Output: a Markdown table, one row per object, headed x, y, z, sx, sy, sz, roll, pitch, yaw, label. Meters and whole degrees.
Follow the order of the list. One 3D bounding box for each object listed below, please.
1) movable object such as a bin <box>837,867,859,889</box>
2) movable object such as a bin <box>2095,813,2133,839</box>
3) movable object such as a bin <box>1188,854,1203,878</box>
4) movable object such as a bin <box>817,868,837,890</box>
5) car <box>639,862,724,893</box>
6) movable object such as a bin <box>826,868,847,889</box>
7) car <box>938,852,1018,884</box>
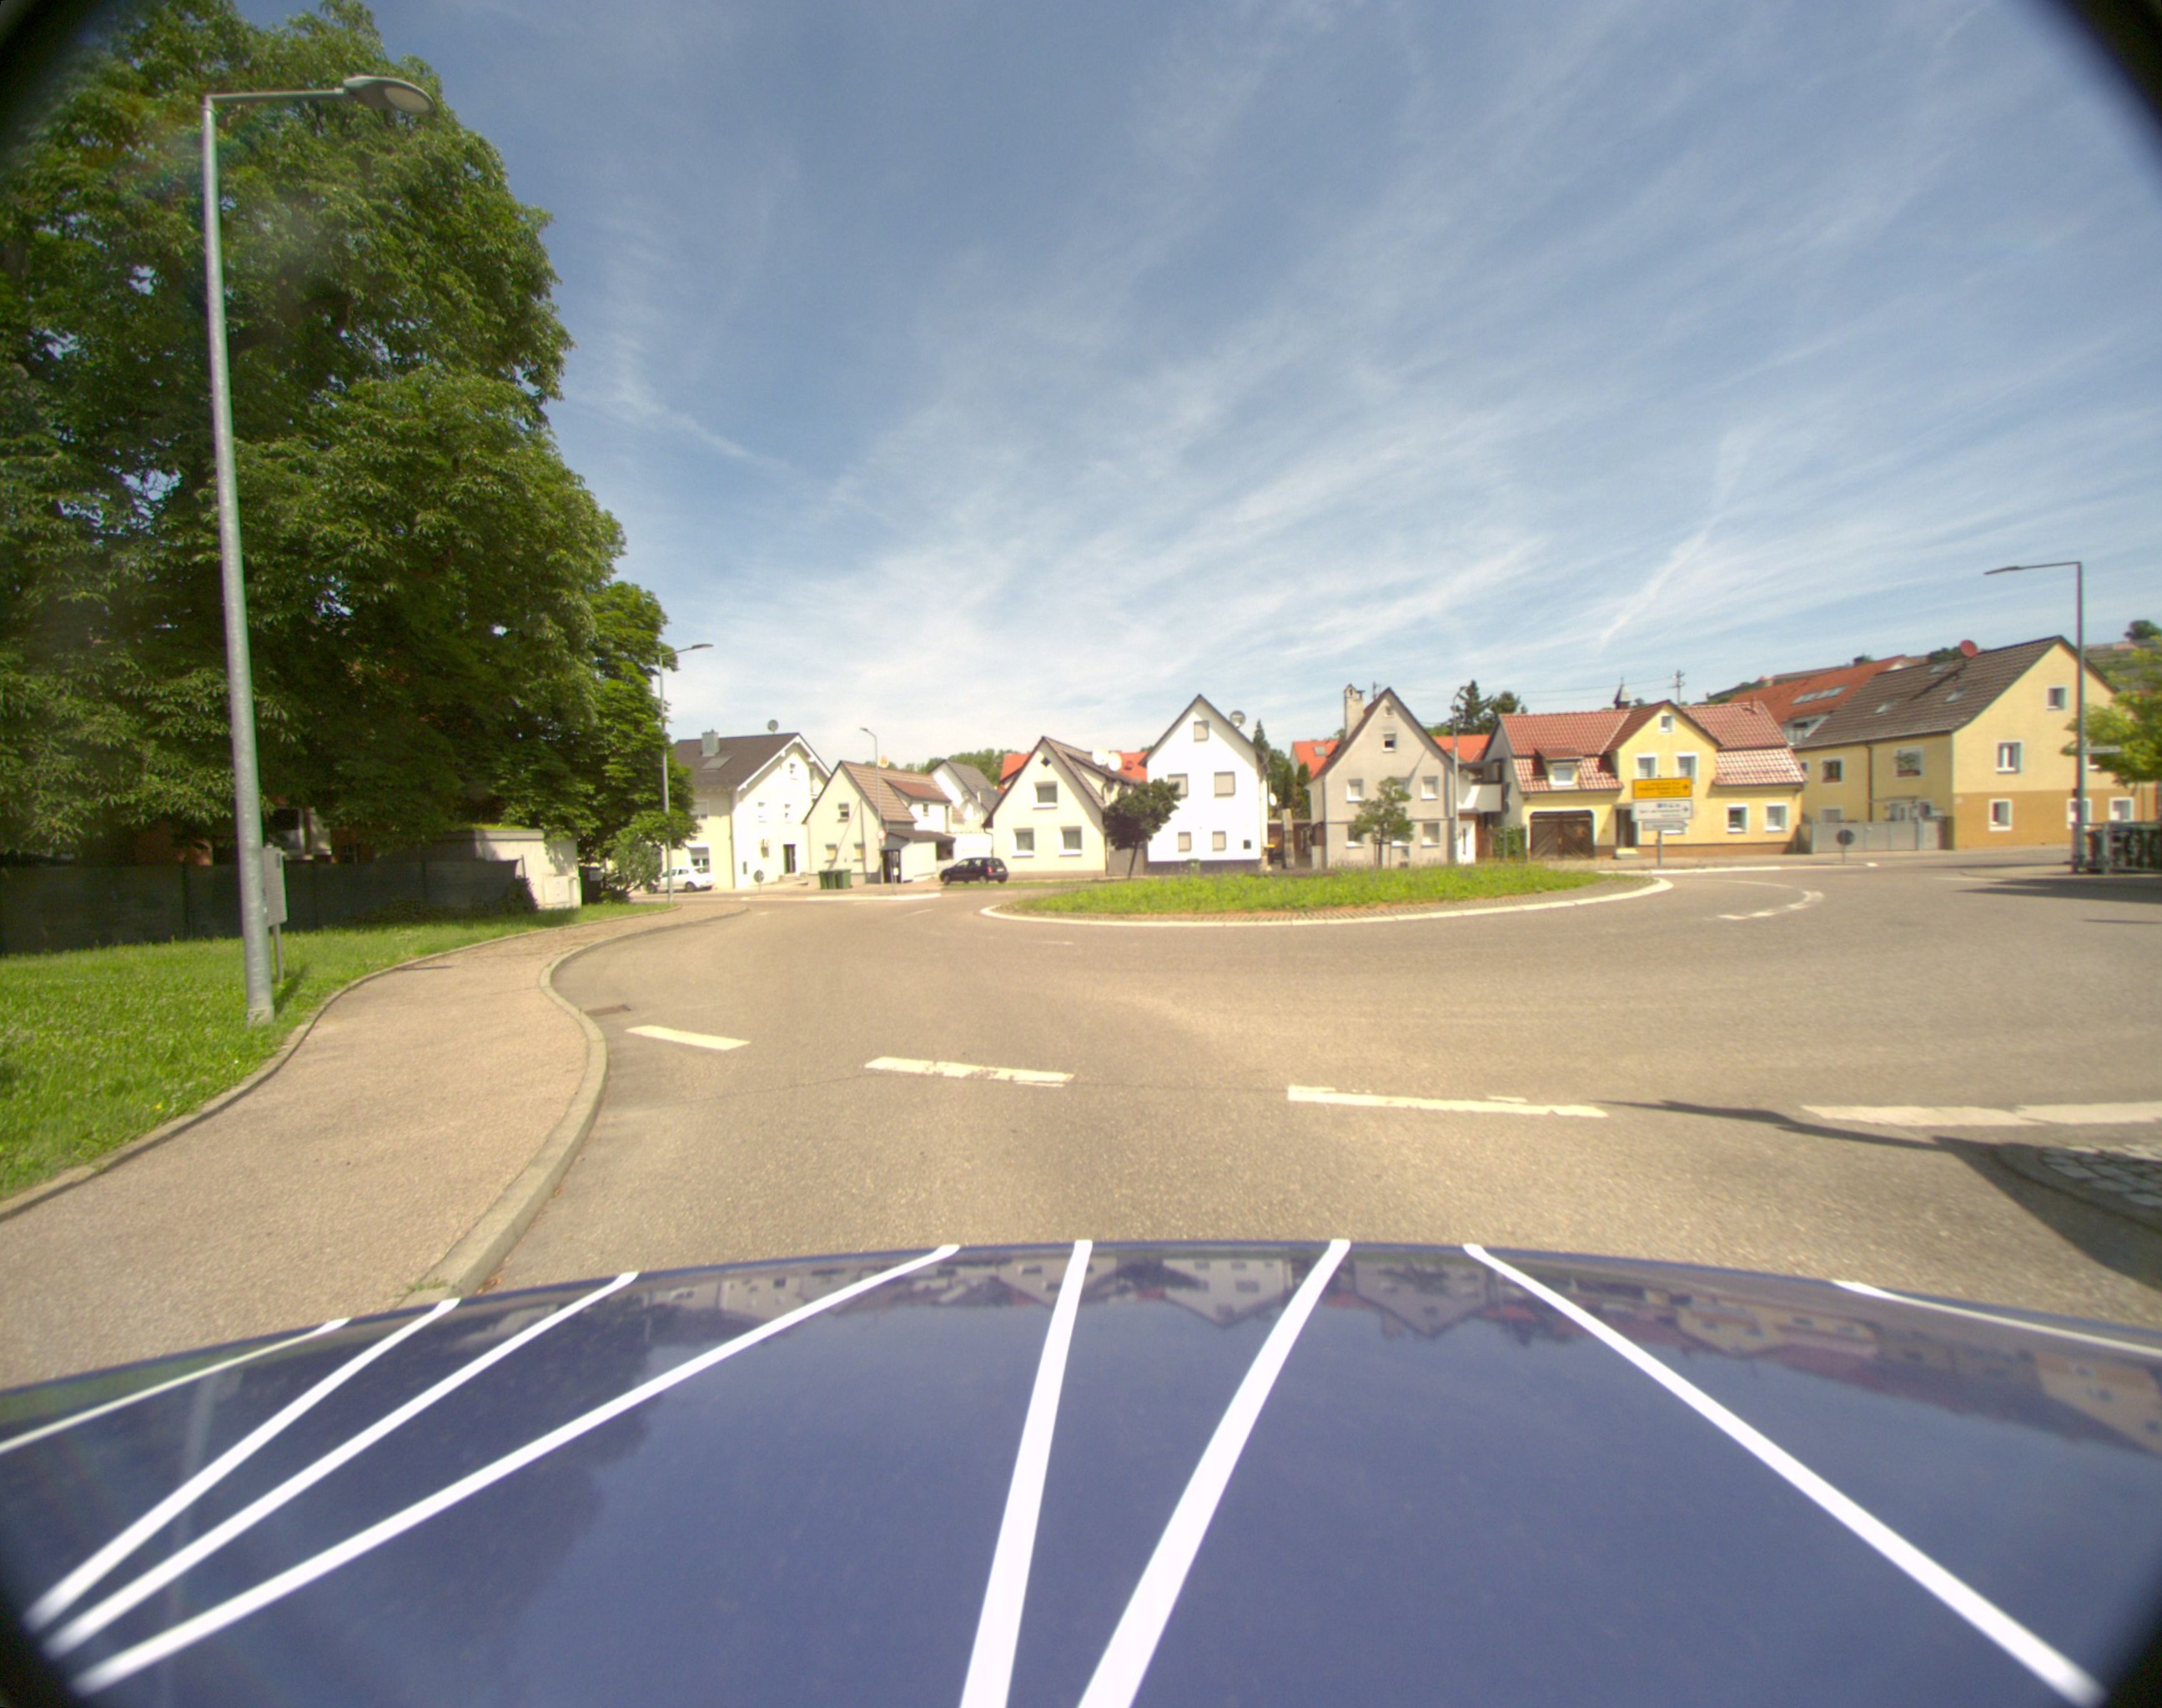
| x | y | z | sx | sy | sz | roll | pitch | yaw | label |
| --- | --- | --- | --- | --- | --- | --- | --- | --- | --- |
| -12.296 | 1.262 | 40.086 | 0.724 | 1.071 | 0.683 | -2 | 4 | 25 | movable object such as a bin |
| 43.761 | -1.198 | 32.194 | 0.675 | 1.046 | 0.699 | -3 | 1 | -6 | movable object such as a bin |
| 5.120 | 0.539 | 33.964 | 0.579 | 1.042 | 0.903 | -2 | 1 | 4 | movable object such as a bin |
| -13.587 | 1.315 | 40.632 | 0.630 | 1.087 | 0.644 | -2 | 4 | 25 | movable object such as a bin |
| -23.339 | 1.350 | 44.477 | 3.994 | 1.494 | 1.826 | -3 | 3 | 9 | car |
| -12.975 | 1.297 | 40.369 | 0.631 | 1.071 | 0.733 | -2 | 4 | 25 | movable object such as a bin |
| -5.332 | 0.694 | 39.147 | 3.836 | 1.434 | 1.781 | 0 | 5 | 35 | car |
